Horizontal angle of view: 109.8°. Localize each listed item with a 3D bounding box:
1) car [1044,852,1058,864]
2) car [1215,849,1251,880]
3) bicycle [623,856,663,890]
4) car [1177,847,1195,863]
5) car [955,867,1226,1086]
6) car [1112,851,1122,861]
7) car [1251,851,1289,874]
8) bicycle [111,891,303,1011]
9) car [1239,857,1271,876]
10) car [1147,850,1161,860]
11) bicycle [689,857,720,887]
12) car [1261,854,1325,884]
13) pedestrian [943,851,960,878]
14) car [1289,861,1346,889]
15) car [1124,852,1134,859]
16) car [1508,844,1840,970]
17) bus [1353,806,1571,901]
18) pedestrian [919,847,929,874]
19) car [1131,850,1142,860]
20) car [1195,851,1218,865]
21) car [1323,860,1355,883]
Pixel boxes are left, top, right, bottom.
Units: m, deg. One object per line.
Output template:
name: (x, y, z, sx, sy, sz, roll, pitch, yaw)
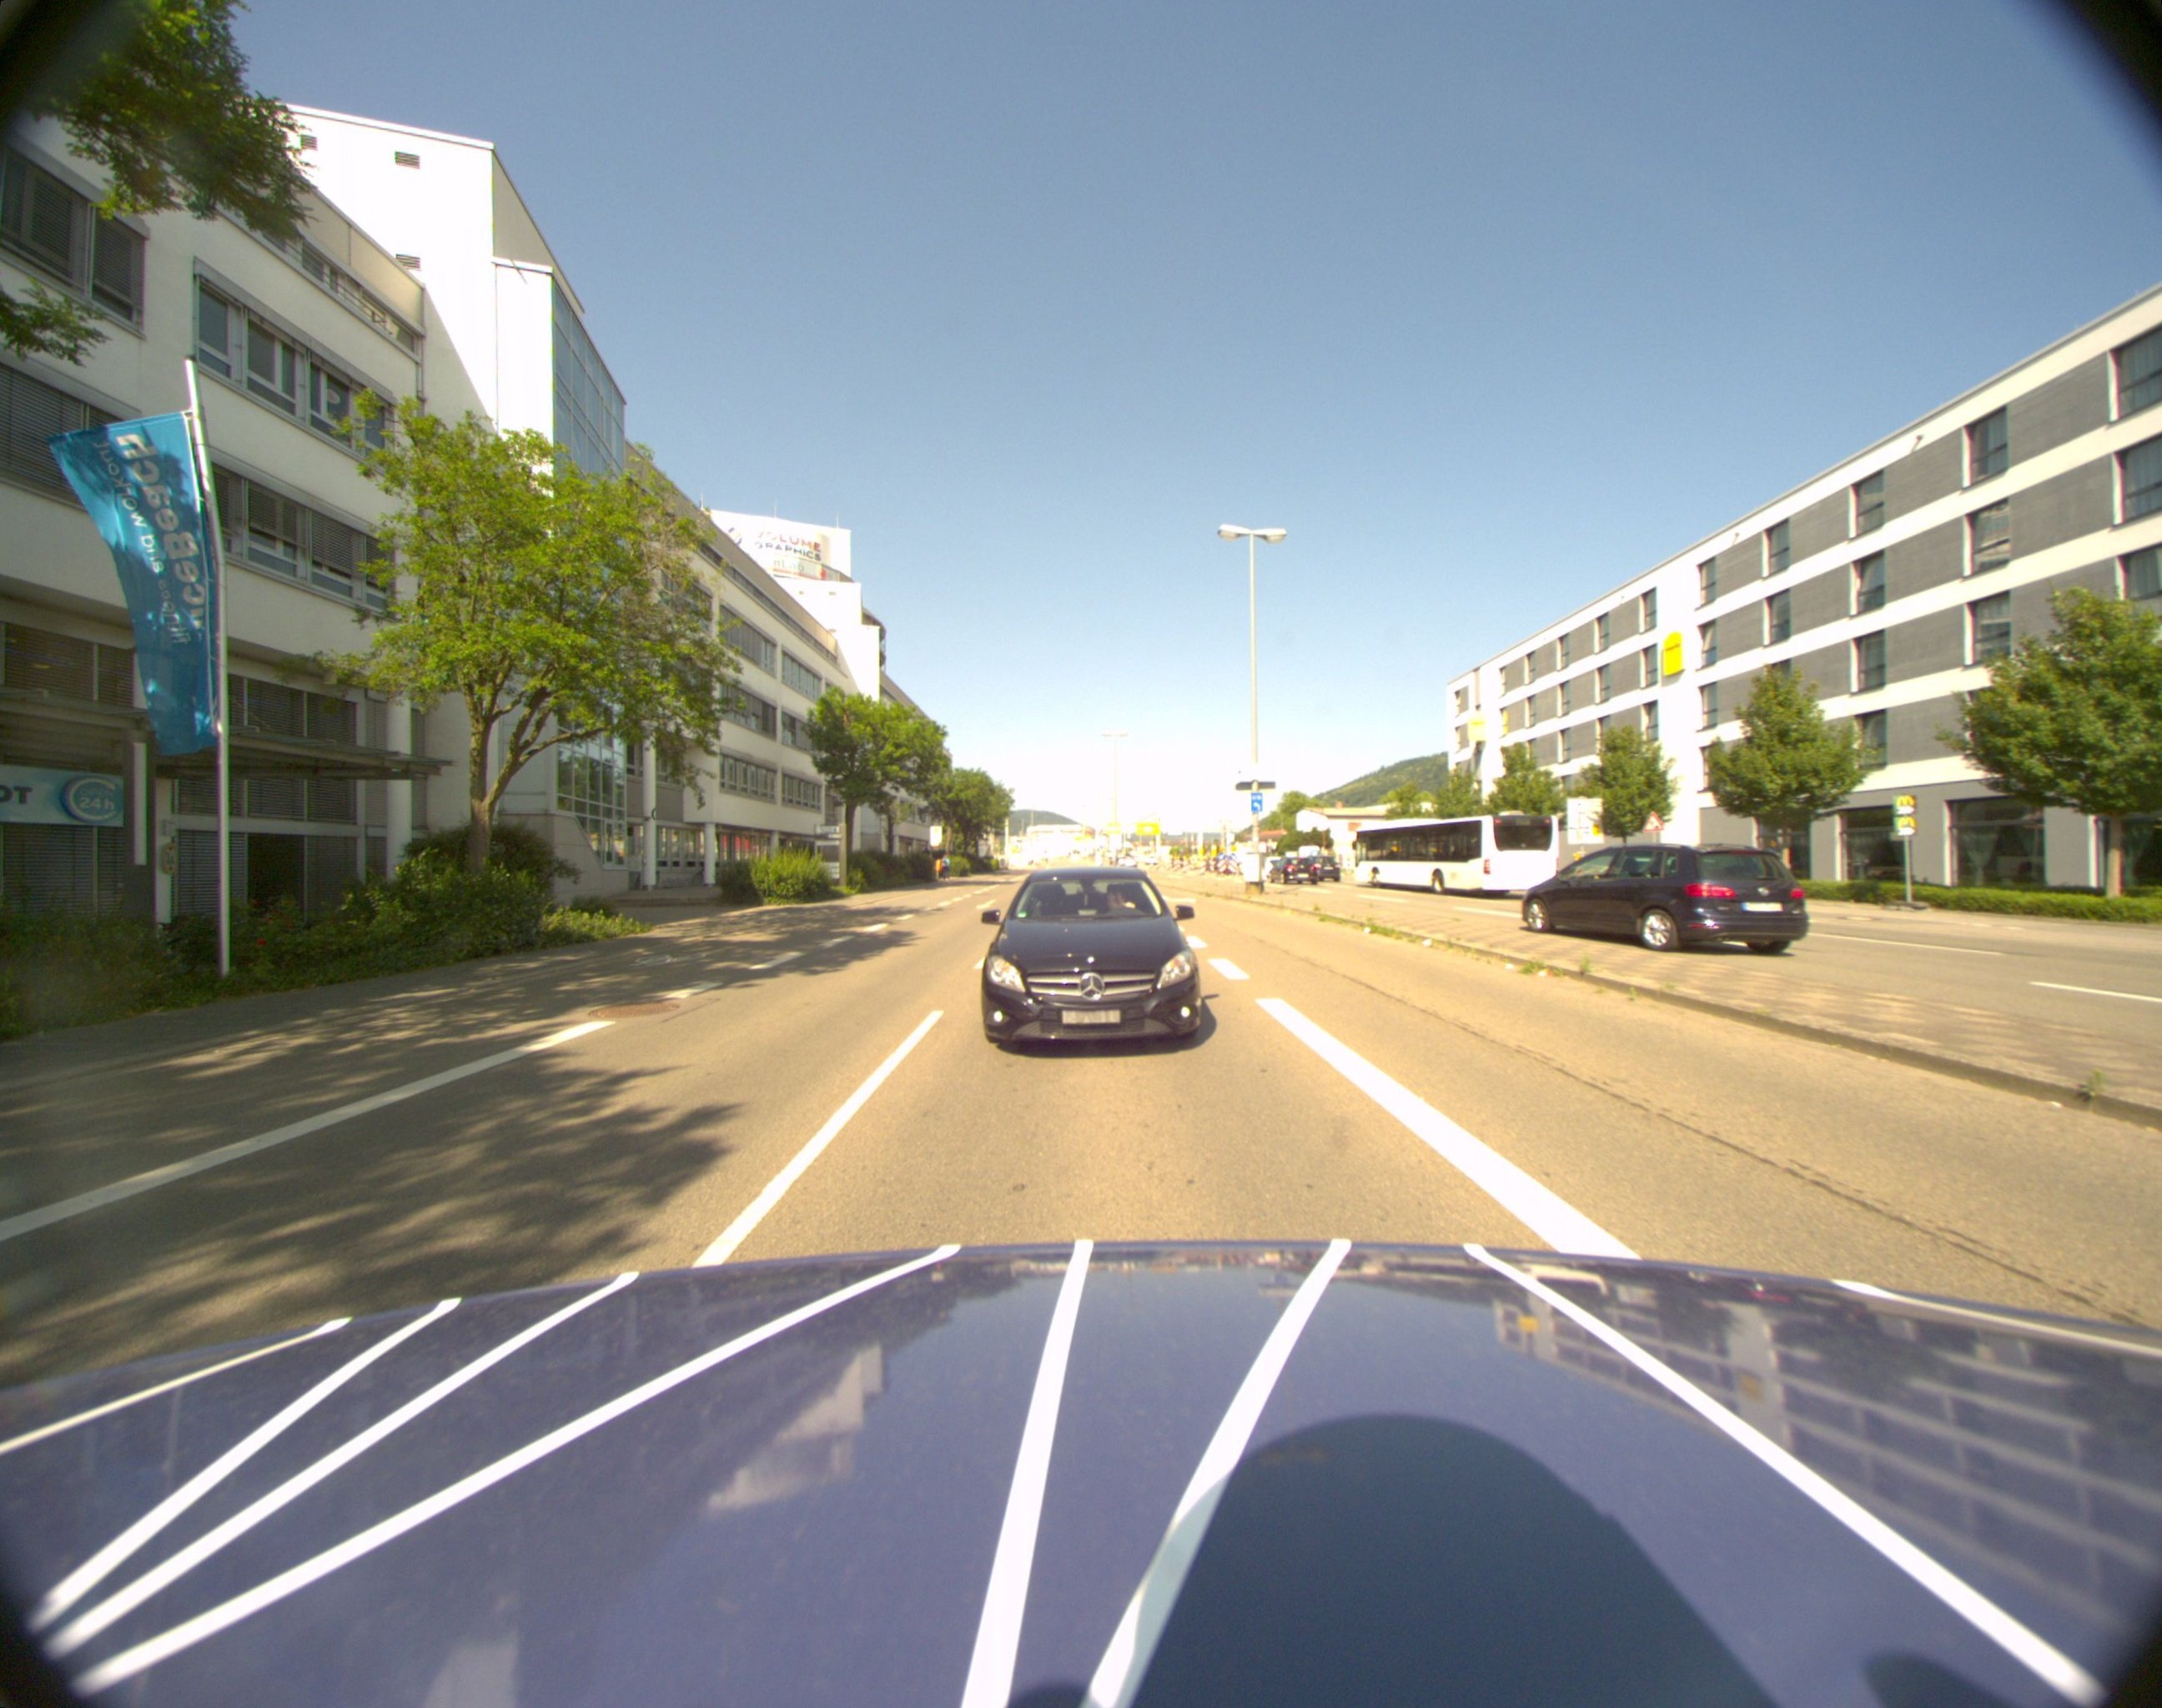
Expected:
car: (-5.196, 0.698, 132.071, 1.998, 2.002, 4.000, -2, 1, 2)
car: (10.739, 0.697, 53.788, 1.679, 2.002, 4.164, -2, 1, 1)
bicycle: (-18.055, 0.766, 31.355, 0.506, 1.346, 1.884, -1, 0, 1)
car: (13.900, 0.126, 100.560, 1.998, 2.002, 4.000, -2, 1, 3)
car: (0.091, 0.915, 7.734, 1.905, 1.431, 4.693, -1, 0, 1)
car: (7.718, 0.466, 162.447, 1.998, 2.002, 3.999, -2, 1, 1)
car: (13.099, 0.560, 52.783, 1.763, 1.443, 4.000, -2, 1, 2)
bicycle: (-11.275, 1.187, 9.903, 0.506, 1.321, 1.883, 0, 0, -8)
car: (15.412, 1.096, 67.313, 1.719, 1.609, 3.590, -1, 0, -5)
car: (12.594, 0.203, 131.747, 1.998, 1.702, 4.892, -1, -1, 1)
bicycle: (-17.714, 0.813, 35.769, 0.506, 1.346, 1.884, -1, 0, 1)
car: (11.215, 0.747, 40.534, 1.998, 1.424, 4.890, -1, 0, 0)
pedestrian: (-9.184, 0.740, 53.926, 0.942, 1.875, 1.289, 2, 1, 0)
car: (14.358, 1.259, 46.477, 1.998, 1.514, 4.891, -1, 0, 1)
car: (11.200, 0.351, 178.462, 1.815, 1.328, 3.937, -3, 0, -3)
car: (8.902, 0.680, 11.963, 1.890, 1.608, 4.133, -1, 0, -3)
bus: (14.666, -0.056, 30.979, 2.745, 3.061, 11.974, 1, 0, 0)
pedestrian: (-15.144, 0.634, 73.317, 0.717, 2.534, 0.716, -1, 1, -1)
car: (11.742, 0.164, 161.451, 1.999, 2.002, 3.999, 0, 0, -1)
car: (14.980, 0.452, 91.100, 1.998, 1.514, 4.891, -1, 0, 1)
car: (14.583, 0.964, 43.027, 1.058, 1.200, 2.220, -2, 1, 2)
